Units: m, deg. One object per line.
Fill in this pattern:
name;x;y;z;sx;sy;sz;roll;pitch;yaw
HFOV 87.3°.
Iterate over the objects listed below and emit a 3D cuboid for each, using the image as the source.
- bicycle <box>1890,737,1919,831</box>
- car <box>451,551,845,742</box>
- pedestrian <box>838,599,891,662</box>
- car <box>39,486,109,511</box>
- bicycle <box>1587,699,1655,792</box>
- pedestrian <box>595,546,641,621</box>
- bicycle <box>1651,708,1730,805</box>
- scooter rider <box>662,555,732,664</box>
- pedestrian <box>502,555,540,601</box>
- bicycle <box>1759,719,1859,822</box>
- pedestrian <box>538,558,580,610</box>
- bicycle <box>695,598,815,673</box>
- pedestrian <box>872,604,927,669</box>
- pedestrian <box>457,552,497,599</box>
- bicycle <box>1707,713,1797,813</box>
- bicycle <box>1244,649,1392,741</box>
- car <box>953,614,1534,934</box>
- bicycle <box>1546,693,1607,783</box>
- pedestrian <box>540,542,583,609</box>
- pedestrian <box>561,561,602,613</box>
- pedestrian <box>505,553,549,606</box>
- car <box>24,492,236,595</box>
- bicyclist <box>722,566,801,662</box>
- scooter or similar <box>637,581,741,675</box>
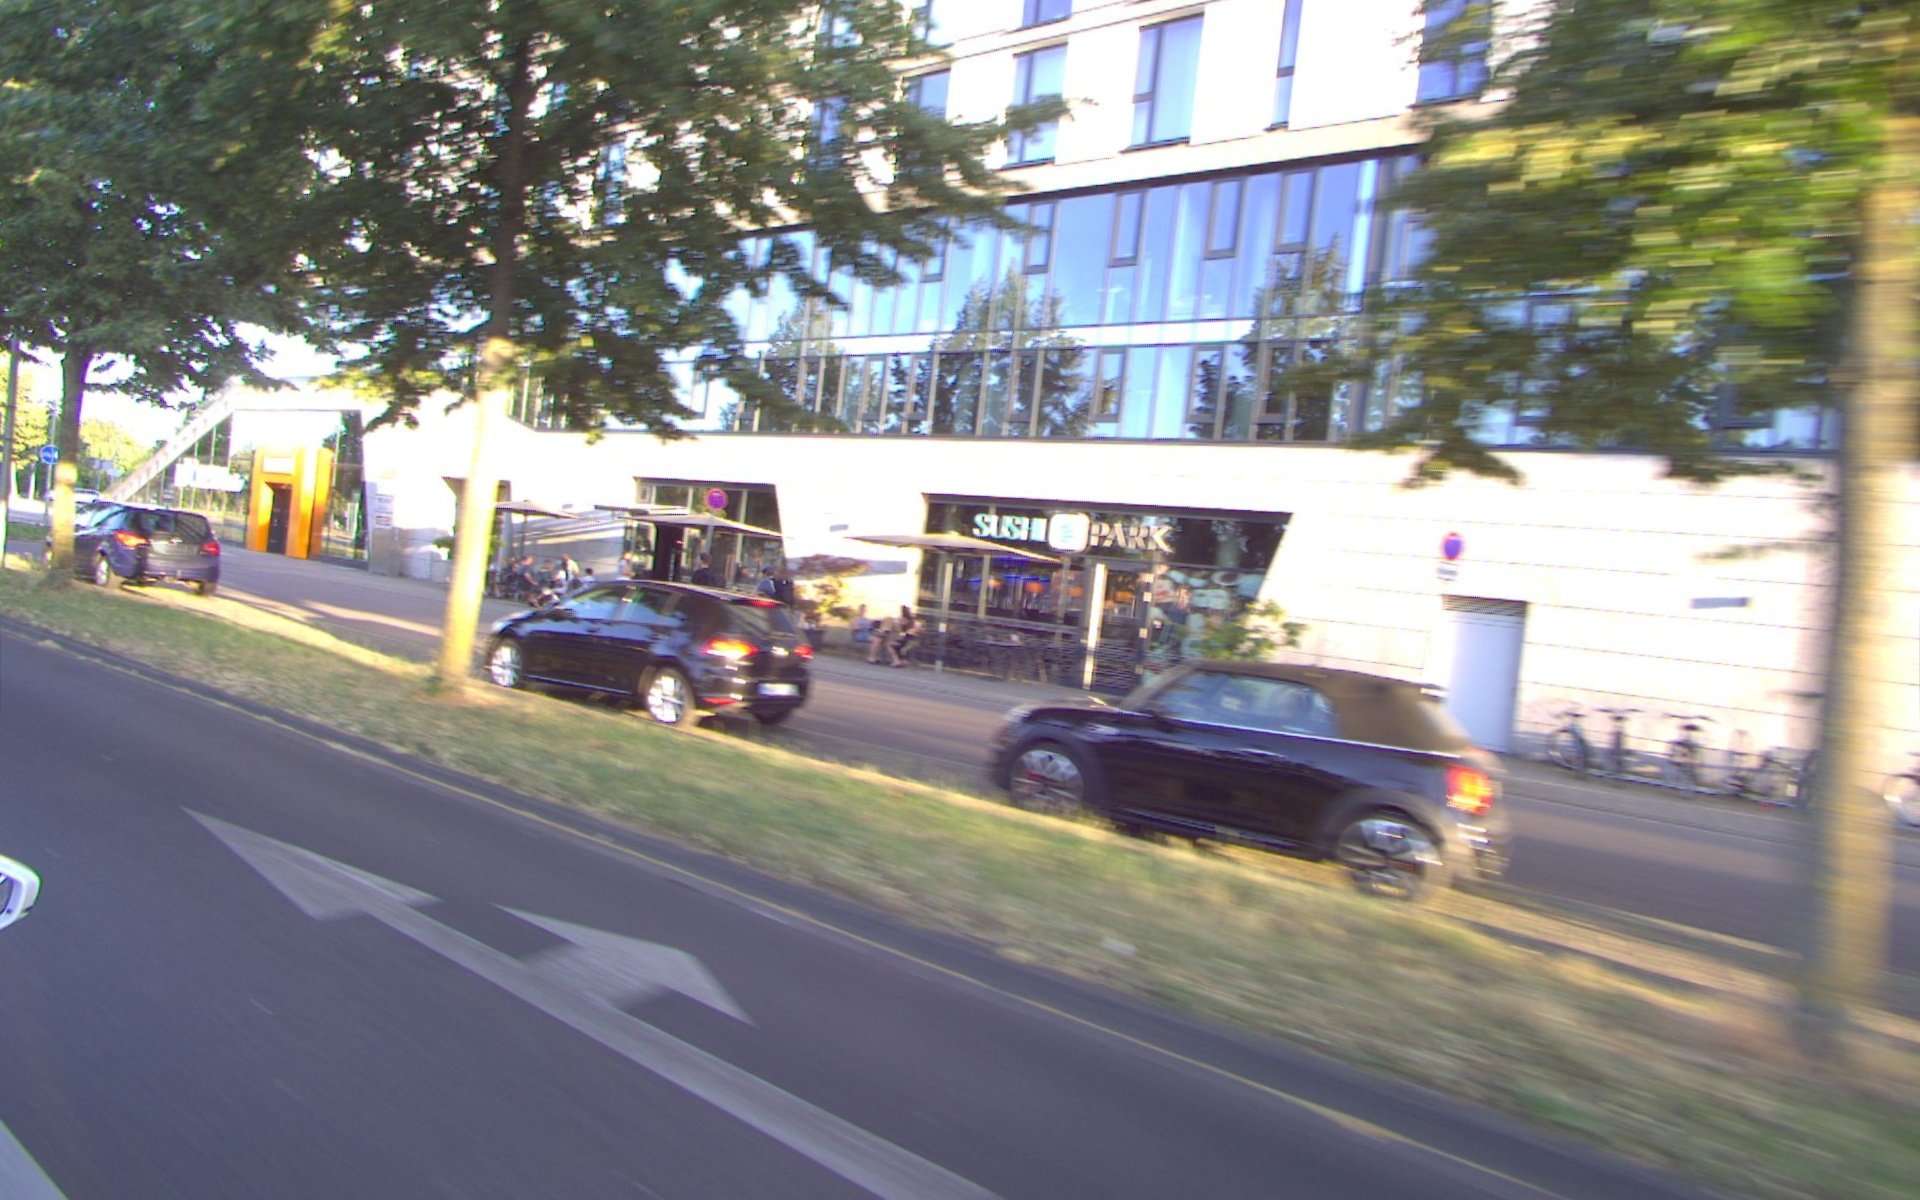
bicycle;12.238;2.342;12.443;0.500;1.118;1.788;7;0;27
car;-3.596;0.450;11.383;4.216;1.490;1.780;7;0;30
pedestrian;-1.988;0.640;20.909;0.793;1.210;0.572;7;1;32
car;-80.753;-9.218;91.769;1.889;1.504;4.425;7;0;37
bicycle;9.350;2.020;14.272;0.500;1.118;1.788;7;0;27
pedestrian;-8.406;-0.394;24.746;0.676;1.759;0.705;7;1;2
bicycle;9.996;2.107;13.814;0.500;1.118;1.788;7;0;27
scooter rider;-4.292;0.158;16.410;0.818;1.659;0.526;7;1;30
pedestrian;-12.467;-0.620;28.578;0.708;1.201;0.614;7;1;-5
bicycle;11.134;2.195;13.246;0.500;1.118;1.788;7;0;27
pedestrian;-10.649;-0.422;26.719;0.726;1.299;0.580;7;1;28
bicycle;-3.719;0.633;18.191;2.029;1.093;0.773;7;1;30
pedestrian;-1.228;0.742;20.387;0.794;1.210;0.571;7;1;34
pedestrian;-13.699;-0.695;28.543;0.847;1.201;0.572;7;1;33
bicycle;10.562;2.137;13.475;0.500;1.118;1.788;7;0;27
bicycle;6.076;1.591;17.189;2.228;1.223;0.469;7;1;36
car;2.038;1.096;7.628;3.818;1.490;1.576;7;0;33
bicycle;8.896;1.959;14.571;0.500;1.118;1.788;7;0;27
pedestrian;-10.970;-0.674;27.694;0.686;1.739;0.636;7;1;12
pedestrian;-10.290;-0.355;27.353;0.725;1.299;0.581;7;1;14
pedestrian;-11.298;-0.526;26.261;0.703;1.299;0.627;7;1;11
car;-16.026;-1.106;19.400;4.088;1.484;1.759;7;0;30
bicyclist;-3.574;0.253;18.121;0.975;1.586;0.773;7;1;30
scooter or similar;-4.457;0.453;16.495;1.636;1.327;0.526;7;1;30
